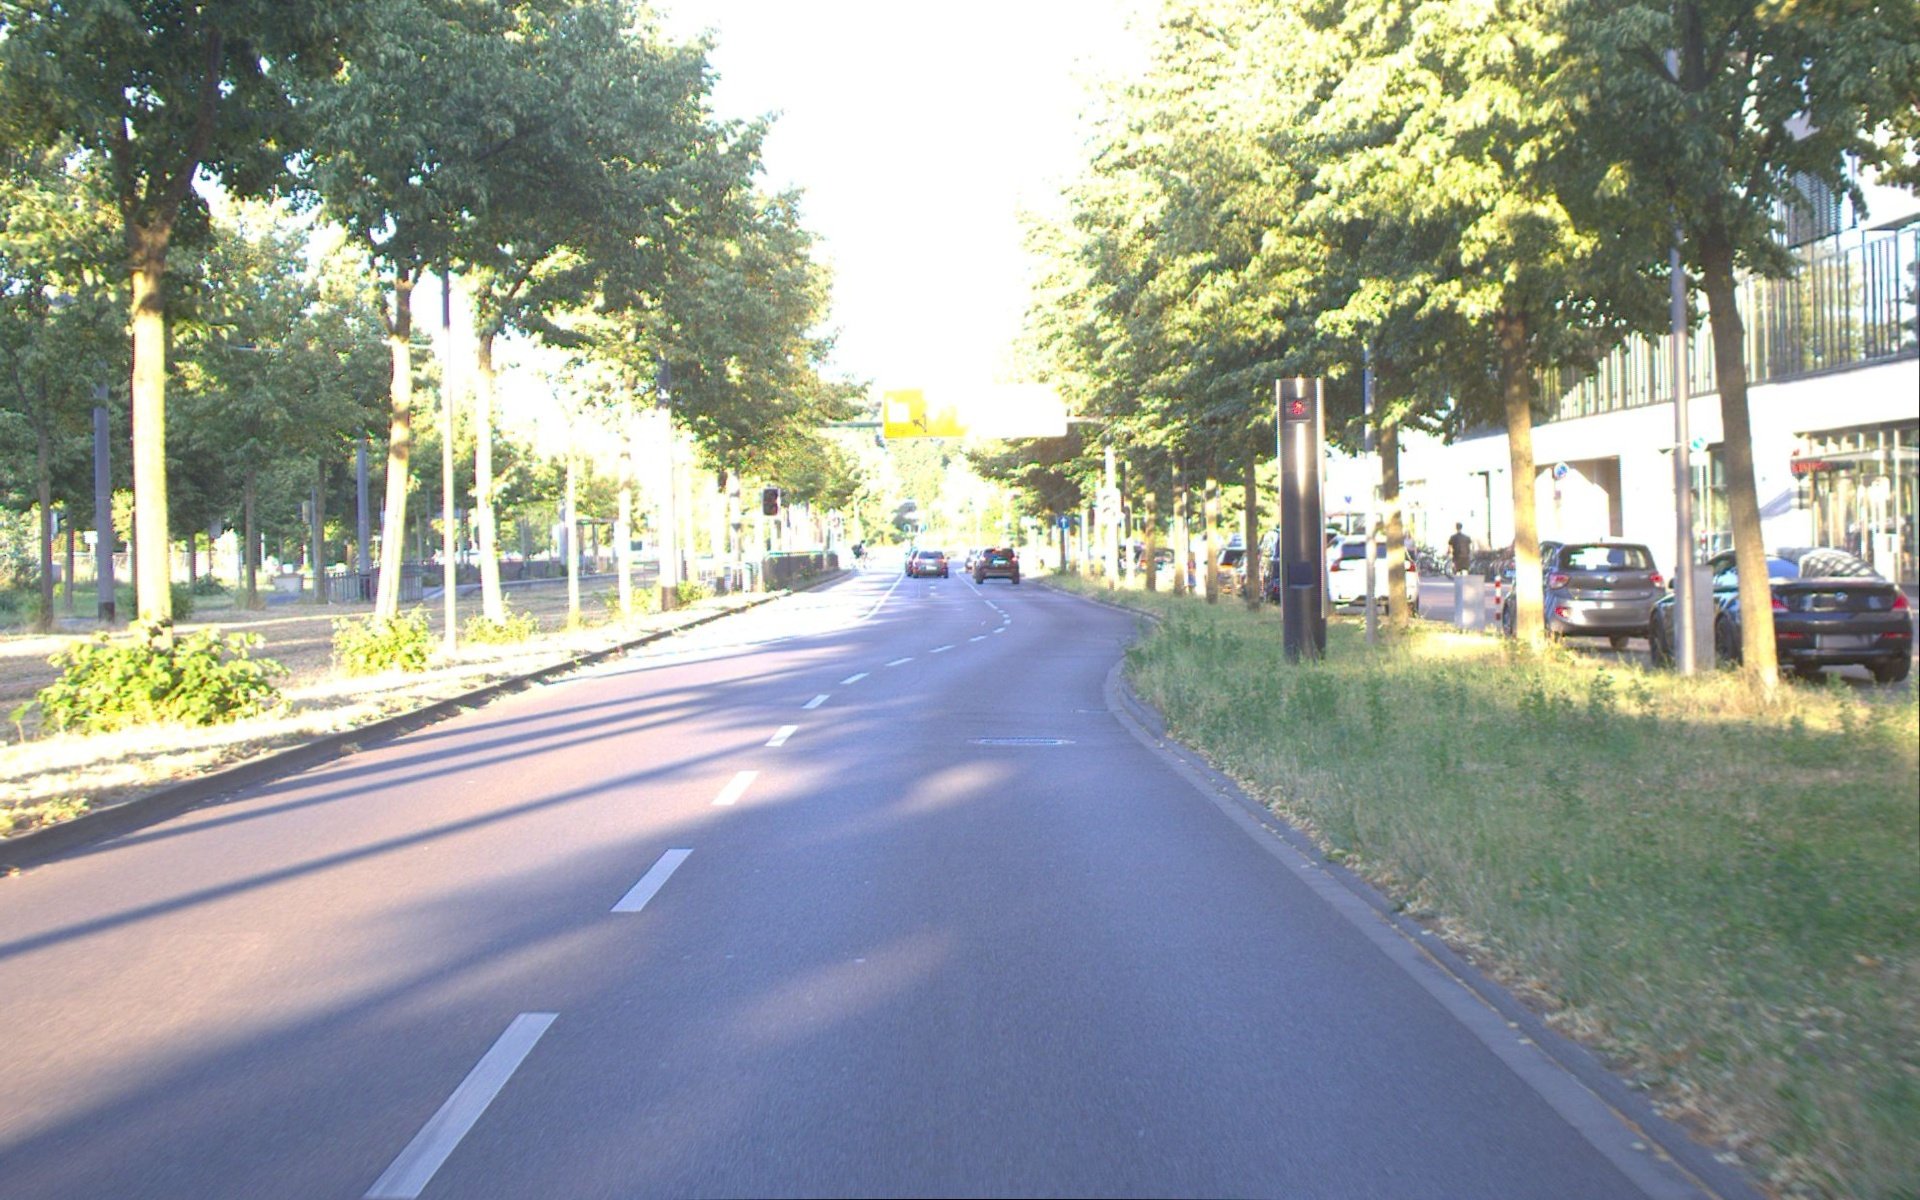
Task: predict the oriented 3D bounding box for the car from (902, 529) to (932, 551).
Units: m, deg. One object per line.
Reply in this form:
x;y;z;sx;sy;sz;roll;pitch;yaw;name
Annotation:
-2.893;-4.020;231.155;1.911;1.481;4.000;-1;1;-1;car

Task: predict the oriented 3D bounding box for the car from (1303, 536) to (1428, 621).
8.262;-0.458;70.445;1.993;1.637;4.878;-1;1;0;car

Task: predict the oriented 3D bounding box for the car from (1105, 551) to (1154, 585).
7.424;-1.417;150.920;1.756;1.461;4.159;-1;1;-3;car

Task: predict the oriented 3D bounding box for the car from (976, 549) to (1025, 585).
1.696;-1.392;144.962;1.911;1.481;4.000;-1;1;-1;car

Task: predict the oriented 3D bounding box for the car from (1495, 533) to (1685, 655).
8.309;-0.108;45.608;1.709;1.510;3.759;1;1;-1;car

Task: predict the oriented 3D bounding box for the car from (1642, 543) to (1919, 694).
8.655;0.137;35.906;1.852;1.362;4.835;-3;1;-2;car

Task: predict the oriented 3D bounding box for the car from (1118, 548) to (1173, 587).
7.298;-1.279;135.545;1.777;1.467;4.289;-1;1;-2;car

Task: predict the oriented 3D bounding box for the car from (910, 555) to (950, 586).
-1.510;-1.459;170.760;1.911;1.481;4.000;-1;1;-1;car

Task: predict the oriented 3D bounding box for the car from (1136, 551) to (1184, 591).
7.484;-1.100;128.962;1.575;1.467;3.881;-1;1;0;car

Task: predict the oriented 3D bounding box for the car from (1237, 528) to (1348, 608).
7.988;-0.783;82.930;1.993;1.845;4.666;-1;1;-2;car

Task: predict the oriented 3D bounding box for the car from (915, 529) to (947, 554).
-1.825;-3.679;216.125;1.911;1.481;4.000;-1;1;-1;car
